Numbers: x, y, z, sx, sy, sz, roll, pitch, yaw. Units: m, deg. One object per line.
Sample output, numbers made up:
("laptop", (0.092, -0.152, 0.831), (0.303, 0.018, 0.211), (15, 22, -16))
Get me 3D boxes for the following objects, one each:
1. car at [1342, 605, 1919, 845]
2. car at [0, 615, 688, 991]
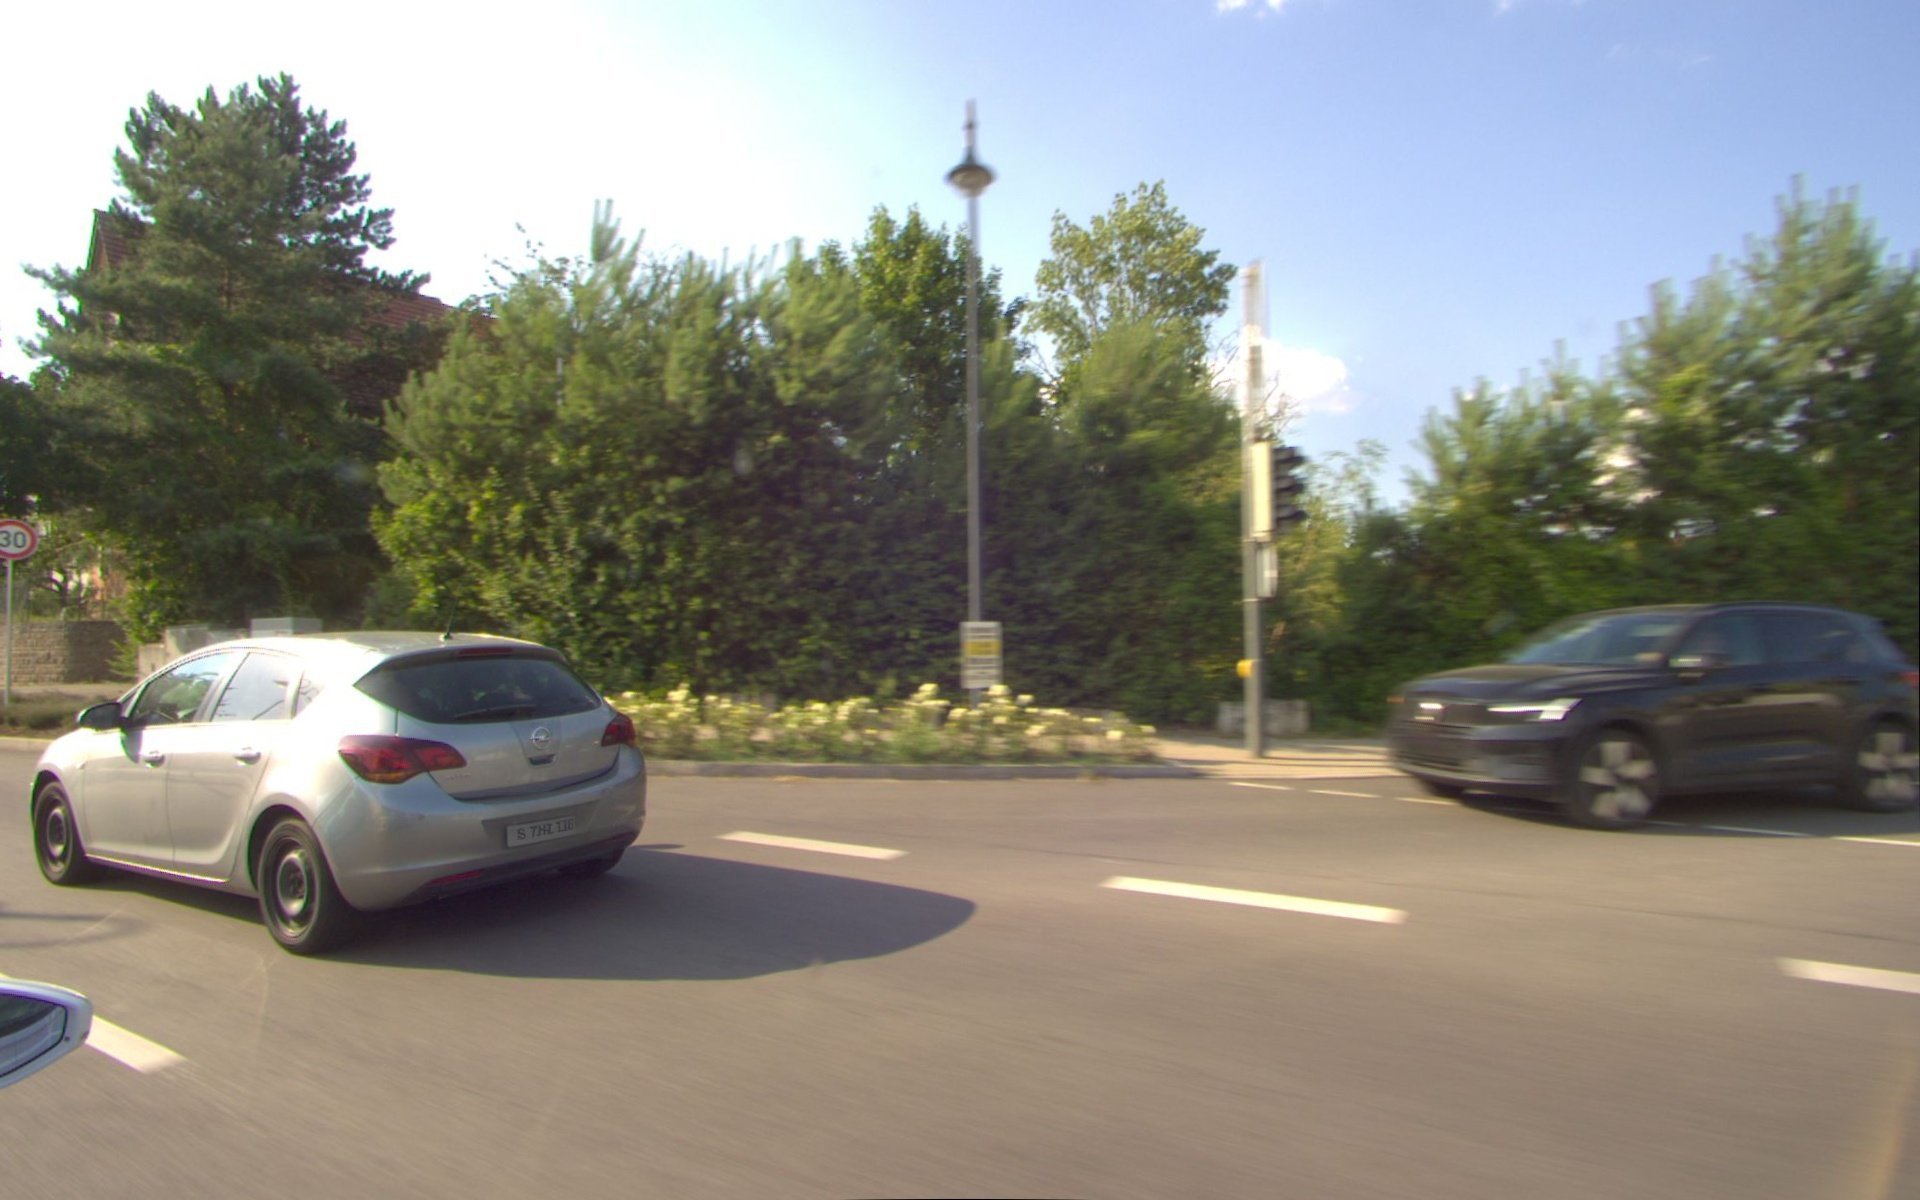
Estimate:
("car", (5.468, 0.863, 8.082), (4.193, 1.587, 1.791), (0, -1, -14))
("car", (-3.746, 0.859, 5.865), (4.243, 1.509, 1.718), (-1, -1, 31))
